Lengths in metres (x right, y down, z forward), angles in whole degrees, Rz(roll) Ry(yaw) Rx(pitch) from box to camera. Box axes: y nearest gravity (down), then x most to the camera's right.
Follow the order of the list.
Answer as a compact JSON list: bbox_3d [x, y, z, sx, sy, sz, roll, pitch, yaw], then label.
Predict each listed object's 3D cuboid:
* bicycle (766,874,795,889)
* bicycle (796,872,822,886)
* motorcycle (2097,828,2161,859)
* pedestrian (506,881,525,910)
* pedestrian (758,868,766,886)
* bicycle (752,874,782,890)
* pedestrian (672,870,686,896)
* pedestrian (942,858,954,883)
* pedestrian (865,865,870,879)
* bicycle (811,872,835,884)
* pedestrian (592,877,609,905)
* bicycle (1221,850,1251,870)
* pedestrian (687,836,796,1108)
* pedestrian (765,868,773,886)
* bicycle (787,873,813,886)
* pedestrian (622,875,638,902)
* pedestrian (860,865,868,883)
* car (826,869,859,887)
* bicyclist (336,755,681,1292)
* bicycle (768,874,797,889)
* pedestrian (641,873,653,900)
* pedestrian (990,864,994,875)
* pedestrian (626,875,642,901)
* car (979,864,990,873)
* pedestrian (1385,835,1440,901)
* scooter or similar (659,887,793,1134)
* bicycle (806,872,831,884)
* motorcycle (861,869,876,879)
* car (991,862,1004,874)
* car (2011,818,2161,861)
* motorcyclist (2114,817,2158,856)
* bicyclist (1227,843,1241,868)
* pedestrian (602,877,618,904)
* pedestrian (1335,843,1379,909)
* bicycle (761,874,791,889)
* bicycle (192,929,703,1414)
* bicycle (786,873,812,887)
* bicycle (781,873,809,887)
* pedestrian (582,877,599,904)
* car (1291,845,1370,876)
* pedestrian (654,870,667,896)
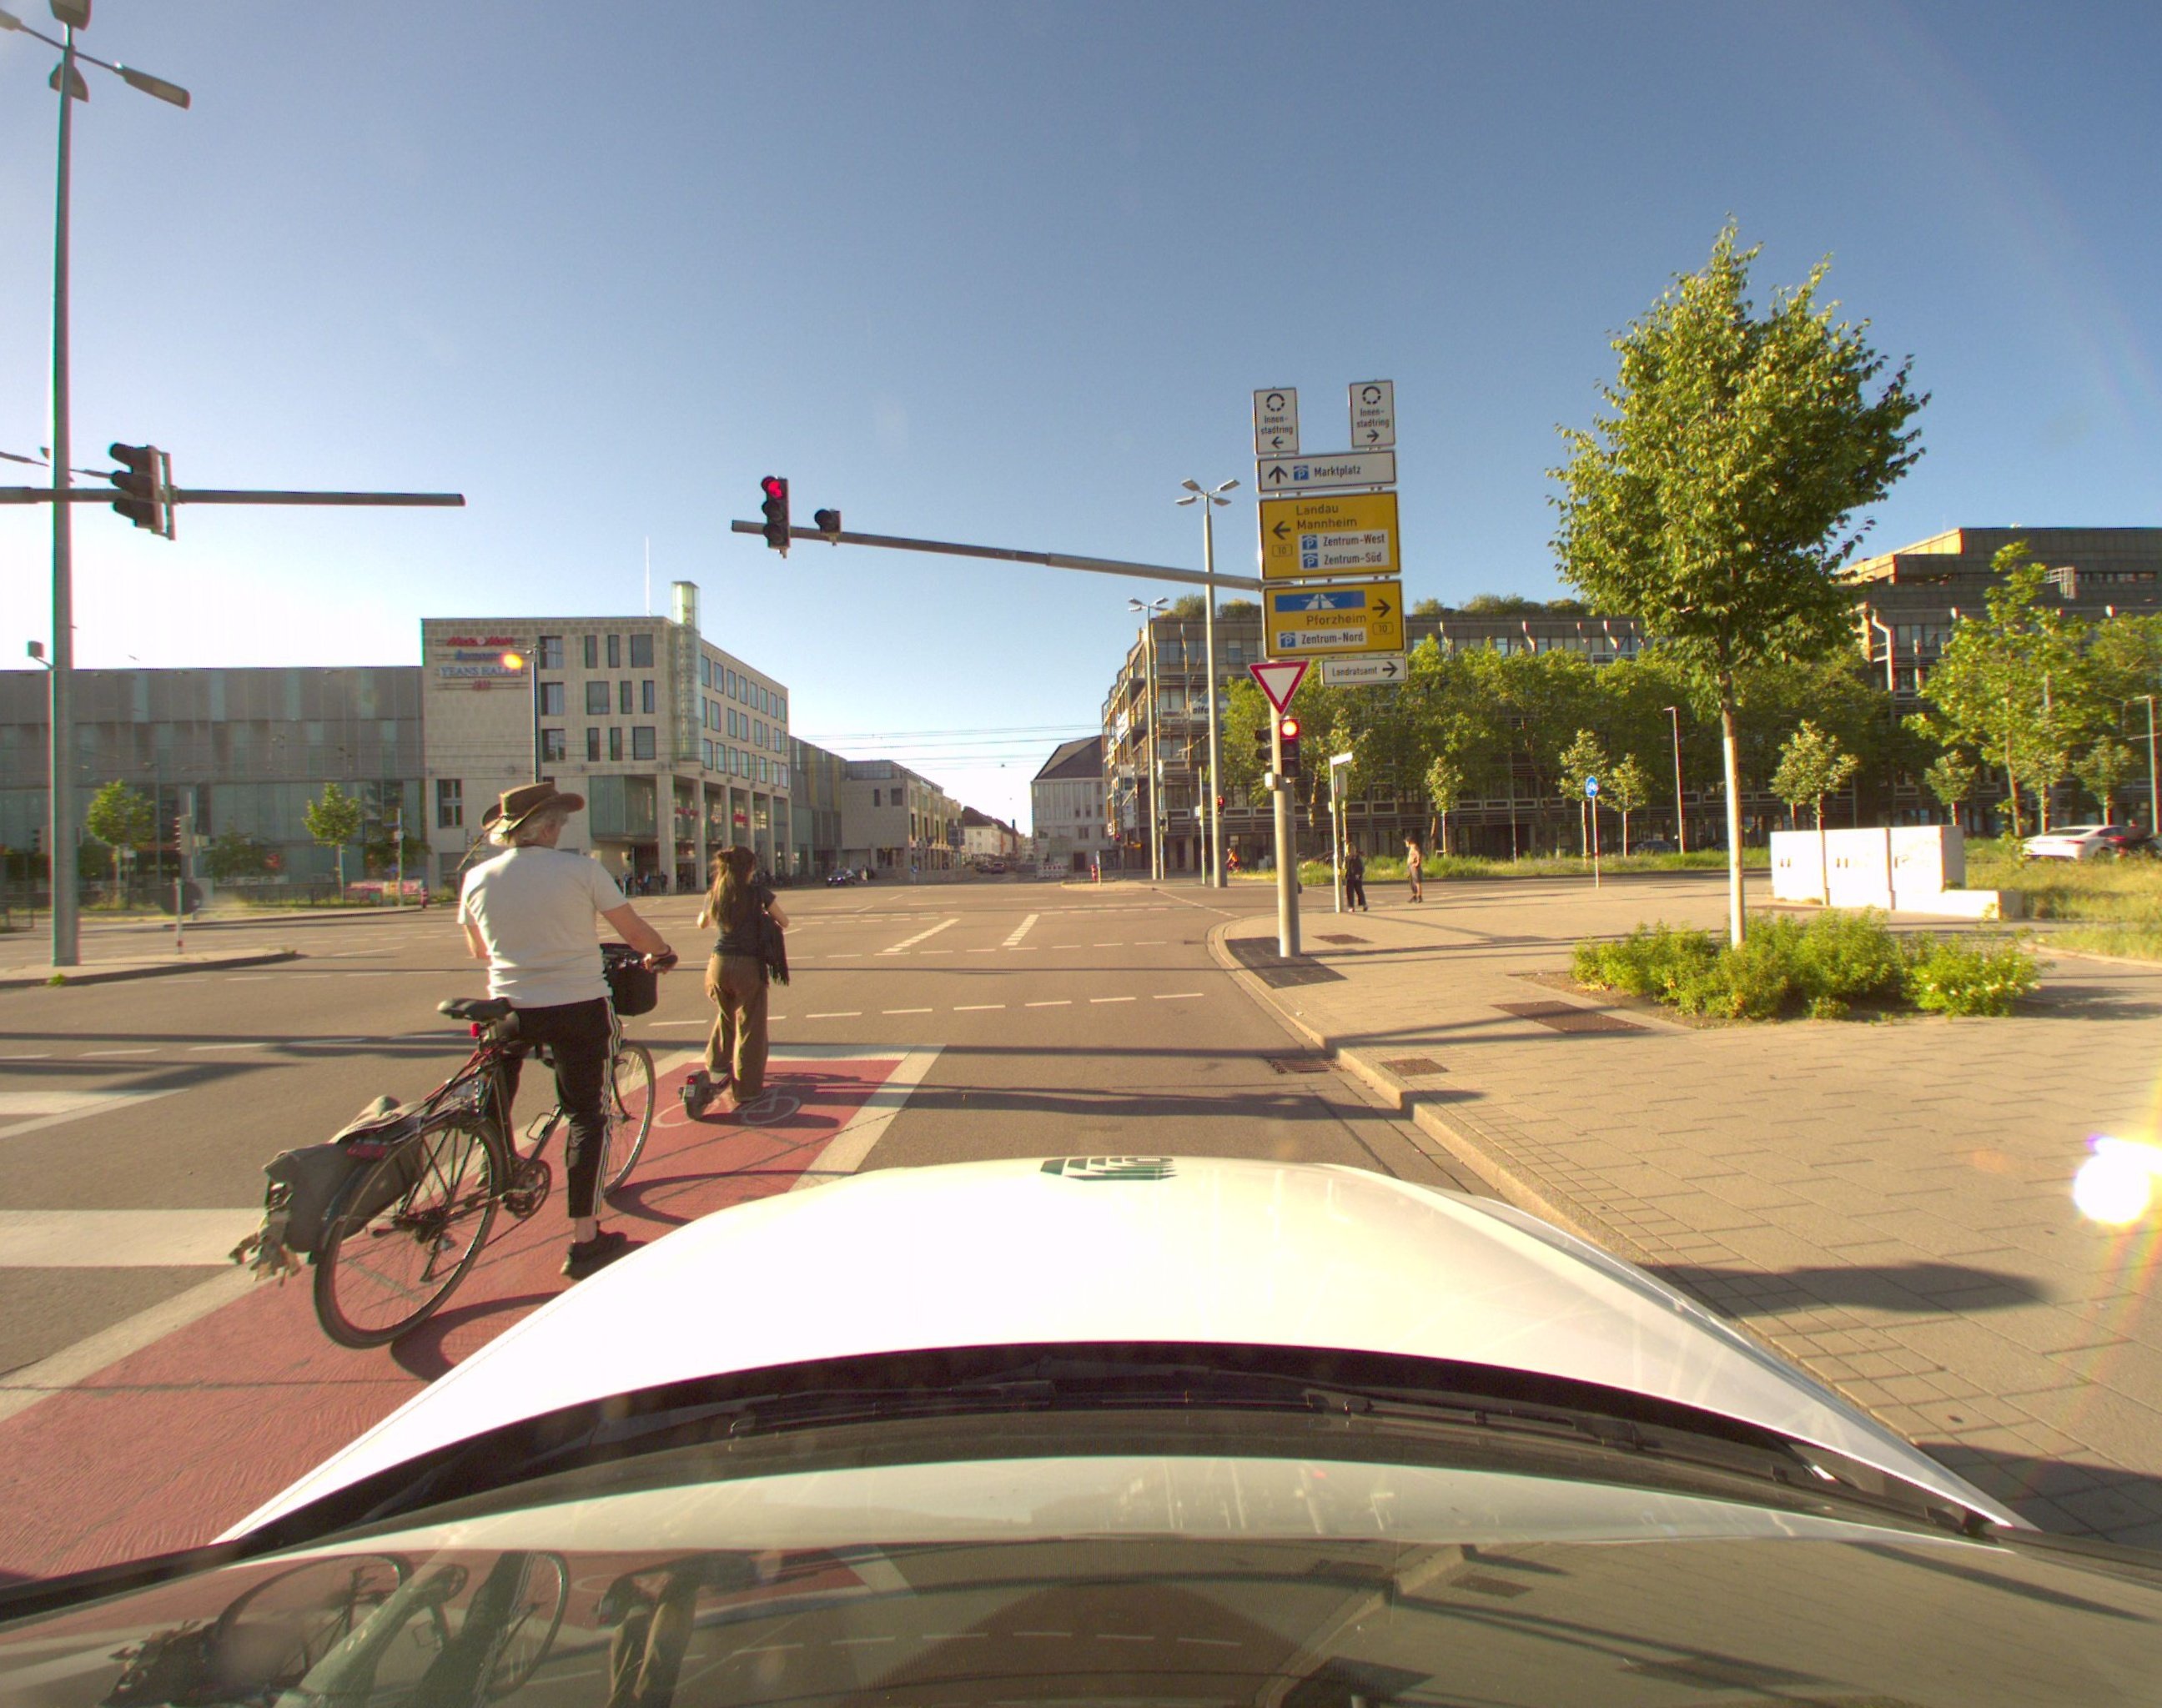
[{"bbox_3d":[-26.560,2.421,72.006,2.299,1.222,0.612,-2,0,-1],"label":"bicycle"},{"bbox_3d":[-27.179,2.501,81.338,2.299,1.222,0.612,-2,0,-1],"label":"bicycle"},{"bbox_3d":[34.751,-0.335,26.816,2.071,0.958,0.560,-2,0,-5],"label":"motorcycle"},{"bbox_3d":[-40.637,2.995,58.520,0.883,2.014,0.771,0,-1,-9],"label":"pedestrian"},{"bbox_3d":[-29.896,2.179,76.273,0.570,1.679,0.614,0,0,-8],"label":"pedestrian"},{"bbox_3d":[-26.729,2.400,69.369,2.299,1.222,0.612,-2,0,-1],"label":"bicycle"},{"bbox_3d":[-29.101,2.060,58.935,0.801,1.843,0.855,-2,0,-30],"label":"pedestrian"},{"bbox_3d":[-10.229,1.268,62.619,0.637,1.890,0.794,-1,-1,16],"label":"pedestrian"},{"bbox_3d":[-26.095,2.181,99.351,0.521,1.679,0.580,0,0,-12],"label":"pedestrian"},{"bbox_3d":[-27.417,2.546,86.642,2.299,1.222,0.612,-2,0,-1],"label":"bicycle"},{"bbox_3d":[-33.864,2.607,57.369,0.783,1.885,0.716,0,-1,-4],"label":"pedestrian"},{"bbox_3d":[8.971,0.355,47.112,1.643,1.154,0.496,0,-1,-8],"label":"bicycle"},{"bbox_3d":[-2.162,0.709,5.236,0.549,1.633,0.569,0,-1,-13],"label":"pedestrian"},{"bbox_3d":[-29.339,2.148,76.480,0.553,1.679,0.606,0,0,-8],"label":"pedestrian"},{"bbox_3d":[-27.623,2.495,80.121,2.299,1.222,0.612,-2,0,-1],"label":"bicycle"},{"bbox_3d":[-31.942,2.445,57.687,0.783,1.885,0.716,0,-1,-4],"label":"pedestrian"},{"bbox_3d":[-20.800,1.891,78.007,0.650,1.719,0.447,-2,0,-22],"label":"pedestrian"},{"bbox_3d":[-20.619,2.044,70.502,1.625,1.342,3.999,-4,-1,0],"label":"car"},{"bbox_3d":[-2.055,0.546,3.054,0.658,1.720,0.866,0,-1,1],"label":"bicyclist"},{"bbox_3d":[-26.735,2.429,72.891,2.299,1.222,0.612,-2,0,-1],"label":"bicycle"},{"bbox_3d":[-31.068,2.308,58.295,0.718,1.885,0.781,0,-1,-25],"label":"pedestrian"},{"bbox_3d":[-12.815,2.229,117.531,0.520,1.679,0.582,0,0,-5],"label":"pedestrian"},{"bbox_3d":[-32.508,2.462,59.239,0.783,1.885,0.716,0,-1,-4],"label":"pedestrian"},{"bbox_3d":[-16.110,2.405,135.958,1.782,1.451,3.993,0,-1,-5],"label":"car"},{"bbox_3d":[8.576,0.359,21.086,0.881,1.665,0.958,0,-1,-19],"label":"pedestrian"},{"bbox_3d":[-2.156,0.873,5.068,0.547,1.294,1.188,0,-1,-13],"label":"scooter or similar"},{"bbox_3d":[-27.582,2.539,85.577,2.299,1.222,0.612,-2,0,-1],"label":"bicycle"},{"bbox_3d":[-25.774,2.420,98.734,1.807,1.206,0.509,0,0,-14],"label":"motorcycle"},{"bbox_3d":[-11.130,1.848,108.649,1.735,1.531,3.848,0,-1,-5],"label":"car"},{"bbox_3d":[37.566,-0.552,29.933,4.934,1.419,1.850,-2,0,-4],"label":"car"},{"bbox_3d":[34.746,-0.579,26.818,0.724,1.248,0.560,-2,0,-5],"label":"motorcyclist"},{"bbox_3d":[8.838,0.097,47.098,0.710,1.437,0.496,0,-1,-7],"label":"bicyclist"},{"bbox_3d":[-33.966,2.619,58.718,0.714,1.885,0.786,0,-1,-6],"label":"pedestrian"},{"bbox_3d":[6.311,0.502,18.647,0.785,1.492,0.644,0,-1,1],"label":"pedestrian"},{"bbox_3d":[-26.457,2.409,70.647,2.299,1.222,0.612,-2,0,-1],"label":"bicycle"},{"bbox_3d":[-2.148,0.946,3.131,0.483,1.156,1.832,0,-1,2],"label":"bicycle"},{"bbox_3d":[-27.057,2.474,78.127,2.299,1.222,0.612,-2,0,-1],"label":"bicycle"},{"bbox_3d":[-26.691,2.454,75.959,2.299,1.222,0.612,-2,0,-1],"label":"bicycle"},{"bbox_3d":[-35.184,2.592,58.381,0.783,1.885,0.716,0,-1,-4],"label":"pedestrian"},{"bbox_3d":[14.058,0.356,45.960,3.880,1.585,1.656,-2,-1,-6],"label":"car"},{"bbox_3d":[-30.788,2.112,59.661,0.800,1.843,0.856,-2,0,-26],"label":"pedestrian"}]
